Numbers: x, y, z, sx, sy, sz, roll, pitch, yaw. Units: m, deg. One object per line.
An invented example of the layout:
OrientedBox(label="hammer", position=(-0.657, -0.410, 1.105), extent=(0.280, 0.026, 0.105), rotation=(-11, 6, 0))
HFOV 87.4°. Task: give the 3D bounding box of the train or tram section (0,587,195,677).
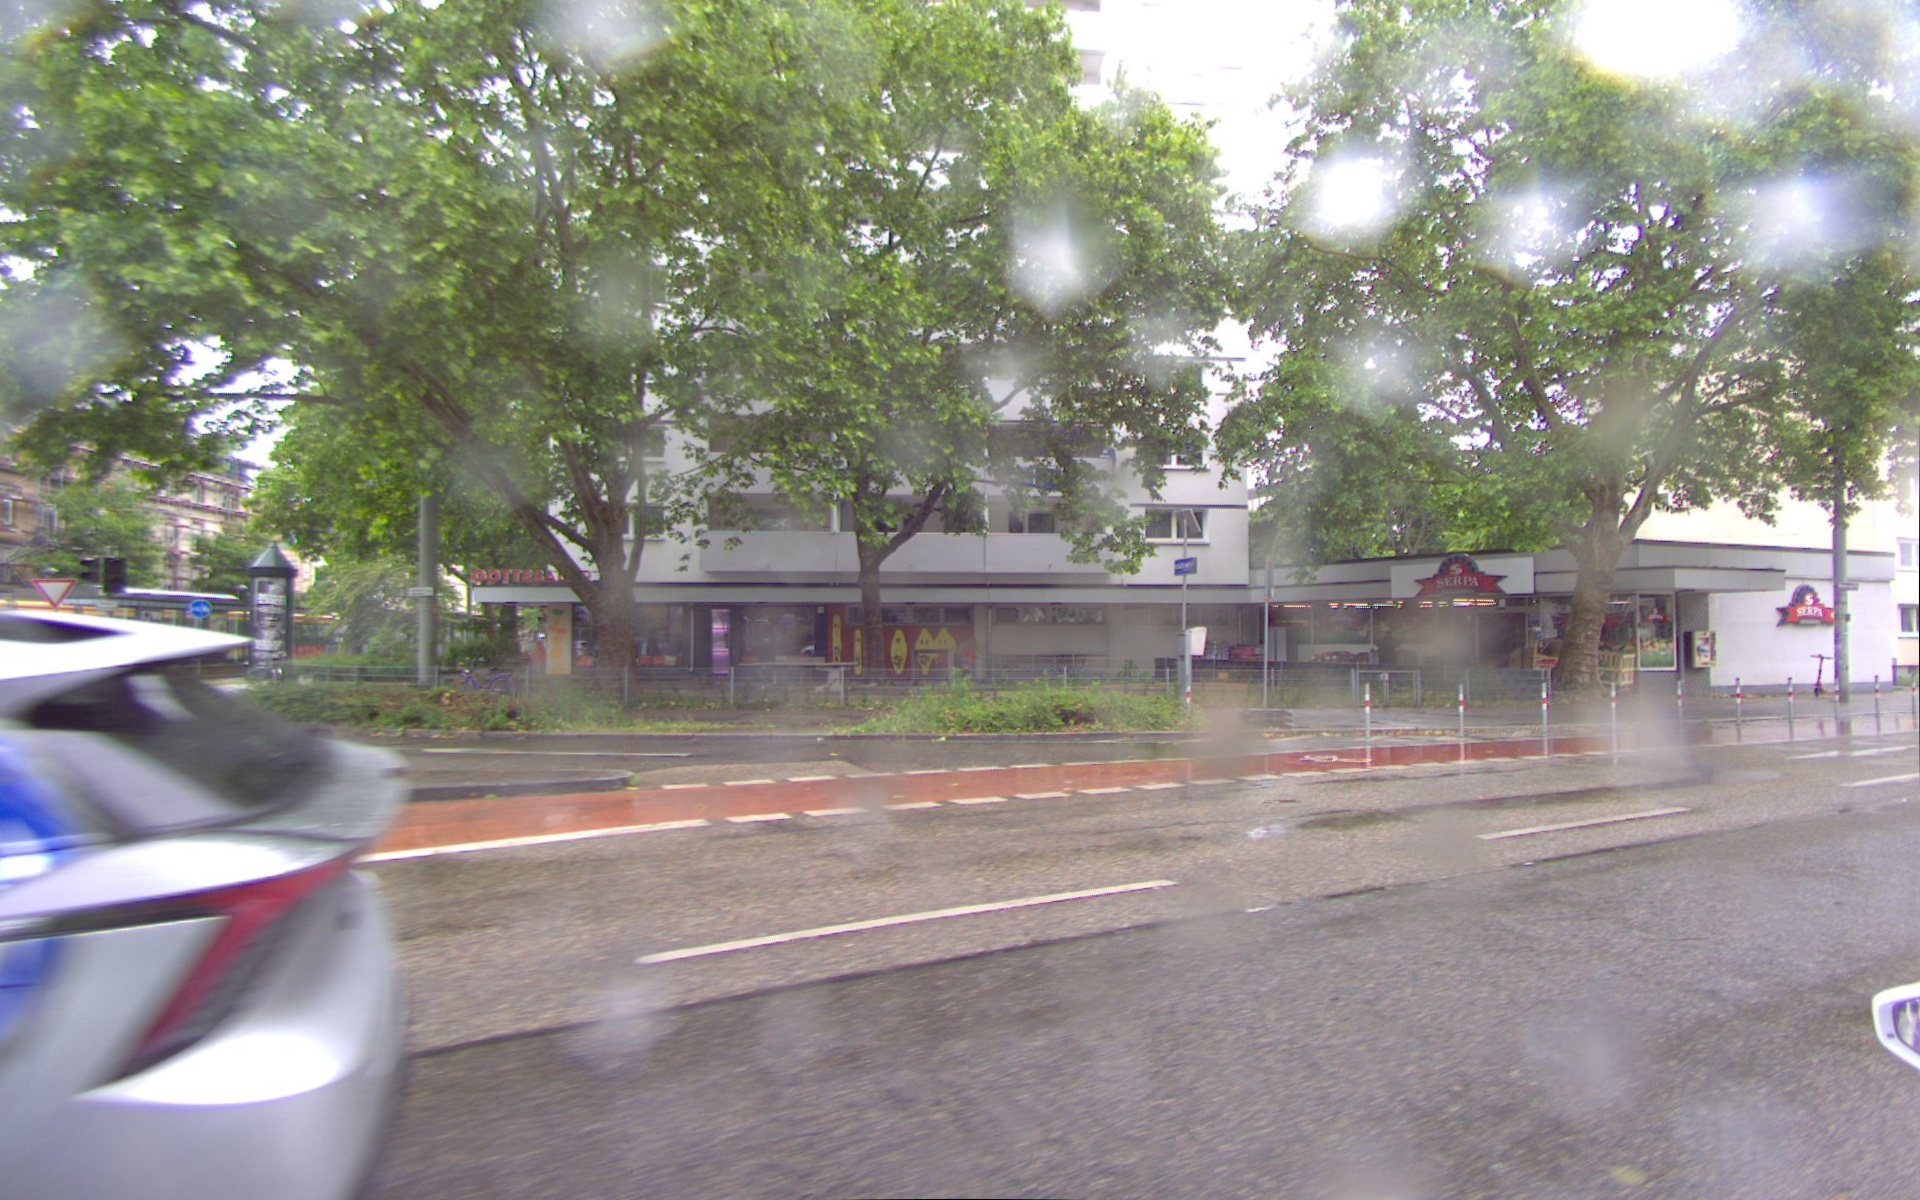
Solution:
OrientedBox(label="train or tram section", position=(-39.999, 1.517, 45.221), extent=(3.014, 3.549, 11.572), rotation=(0, -3, -5))

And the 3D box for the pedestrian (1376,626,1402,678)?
OrientedBox(label="pedestrian", position=(13.984, 1.688, 32.775), extent=(0.637, 1.650, 0.564), rotation=(2, -3, -44))

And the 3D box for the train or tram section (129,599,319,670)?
OrientedBox(label="train or tram section", position=(-41.028, 2.017, 56.780), extent=(3.014, 3.549, 11.572), rotation=(0, -3, -5))

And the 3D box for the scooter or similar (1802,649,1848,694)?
OrientedBox(label="scooter or similar", position=(25.292, 2.090, 29.363), extent=(1.355, 1.282, 0.437), rotation=(1, -3, -23))

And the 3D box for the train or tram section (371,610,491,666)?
OrientedBox(label="train or tram section", position=(-36.231, 2.666, 69.456), extent=(3.014, 3.549, 11.572), rotation=(0, -3, -5))

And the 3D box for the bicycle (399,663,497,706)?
OrientedBox(label="bicycle", position=(-12.018, 1.970, 23.578), extent=(2.271, 0.880, 0.639), rotation=(0, -1, 19))

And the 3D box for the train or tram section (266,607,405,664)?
OrientedBox(label="train or tram section", position=(-42.061, 2.495, 68.301), extent=(3.014, 3.549, 11.572), rotation=(0, -3, -5))

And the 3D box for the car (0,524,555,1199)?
OrientedBox(label="car", position=(-2.788, 0.679, 1.276), extent=(4.008, 1.529, 1.837), rotation=(1, -3, -30))
